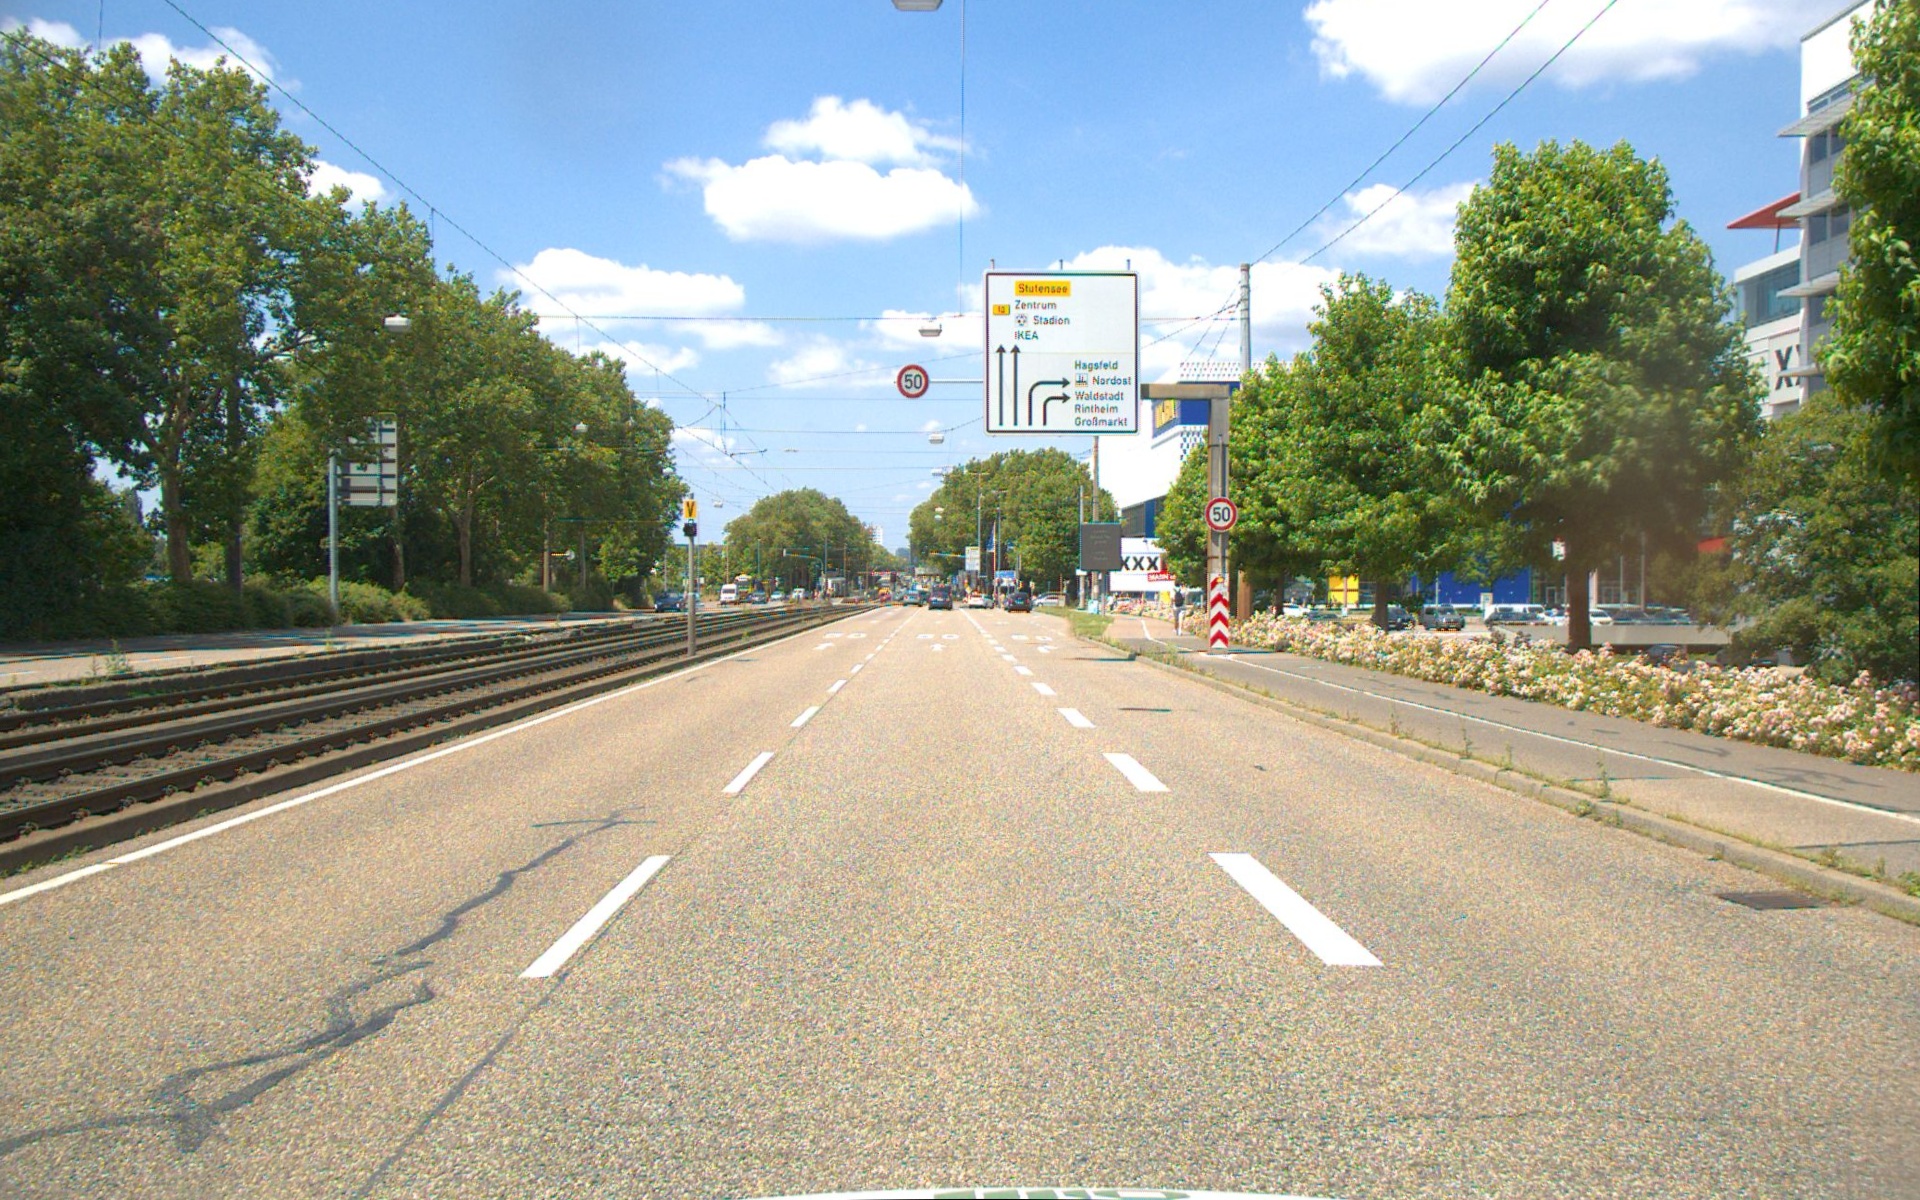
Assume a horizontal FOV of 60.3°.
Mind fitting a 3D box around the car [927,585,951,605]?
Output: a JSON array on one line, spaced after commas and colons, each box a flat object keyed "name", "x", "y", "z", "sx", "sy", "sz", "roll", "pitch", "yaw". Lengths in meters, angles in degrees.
[{"name": "car", "x": -1.739, "y": -0.427, "z": 133.888, "sx": 1.838, "sy": 1.566, "sz": 3.776, "roll": 1, "pitch": 0, "yaw": -2}]

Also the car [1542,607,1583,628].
[{"name": "car", "x": 45.712, "y": 1.317, "z": 125.570, "sx": 1.539, "sy": 1.508, "sz": 3.887, "roll": 1, "pitch": 0, "yaw": -3}]

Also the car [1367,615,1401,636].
[{"name": "car", "x": 34.353, "y": 2.051, "z": 134.079, "sx": 1.539, "sy": 1.508, "sz": 3.887, "roll": 1, "pitch": 0, "yaw": -3}]

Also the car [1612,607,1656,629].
[{"name": "car", "x": 50.171, "y": 1.321, "z": 123.256, "sx": 1.539, "sy": 1.508, "sz": 3.887, "roll": 1, "pitch": 0, "yaw": -3}]

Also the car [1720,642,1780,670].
[{"name": "car", "x": 47.760, "y": 3.368, "z": 100.023, "sx": 1.705, "sy": 1.508, "sz": 3.963, "roll": 1, "pitch": 0, "yaw": 0}]

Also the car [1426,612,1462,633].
[{"name": "car", "x": 38.605, "y": 1.790, "z": 131.988, "sx": 1.539, "sy": 1.508, "sz": 3.887, "roll": 1, "pitch": 0, "yaw": -3}]

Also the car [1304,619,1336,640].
[{"name": "car", "x": 28.744, "y": 2.359, "z": 132.026, "sx": 1.539, "sy": 1.508, "sz": 3.887, "roll": 1, "pitch": 0, "yaw": -3}]

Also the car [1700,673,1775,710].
[{"name": "car", "x": 38.059, "y": 4.475, "z": 81.032, "sx": 1.705, "sy": 1.508, "sz": 4.087, "roll": 1, "pitch": 0, "yaw": 0}]

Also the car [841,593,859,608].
[{"name": "car", "x": -12.166, "y": 0.052, "z": 183.482, "sx": 1.805, "sy": 1.577, "sz": 3.775, "roll": 2, "pitch": 0, "yaw": -2}]

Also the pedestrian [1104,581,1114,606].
[{"name": "pedestrian", "x": 10.875, "y": -0.481, "z": 120.642, "sx": 0.568, "sy": 1.823, "sz": 0.589, "roll": 1, "pitch": 0, "yaw": -3}]

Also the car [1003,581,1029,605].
[{"name": "car", "x": 4.456, "y": -0.587, "z": 131.324, "sx": 1.861, "sy": 1.837, "sz": 3.976, "roll": 1, "pitch": 0, "yaw": 0}]

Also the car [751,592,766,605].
[{"name": "car", "x": -26.112, "y": -0.211, "z": 214.408, "sx": 1.590, "sy": 1.577, "sz": 3.703, "roll": 1, "pitch": 0, "yaw": -1}]

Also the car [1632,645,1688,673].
[{"name": "car", "x": 42.789, "y": 3.575, "z": 101.196, "sx": 1.705, "sy": 1.508, "sz": 3.963, "roll": 1, "pitch": 0, "yaw": 0}]

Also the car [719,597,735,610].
[{"name": "car", "x": -29.569, "y": 0.423, "z": 209.950, "sx": 1.590, "sy": 1.577, "sz": 3.703, "roll": 1, "pitch": 0, "yaw": -1}]

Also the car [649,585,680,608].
[{"name": "car", "x": -21.038, "y": -0.249, "z": 117.912, "sx": 1.612, "sy": 1.577, "sz": 4.214, "roll": 1, "pitch": 0, "yaw": -3}]

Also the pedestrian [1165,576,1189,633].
[{"name": "pedestrian", "x": 7.089, "y": 0.146, "z": 54.082, "sx": 0.655, "sy": 1.823, "sz": 0.925, "roll": 1, "pitch": 0, "yaw": 1}]

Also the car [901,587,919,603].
[{"name": "car", "x": -5.063, "y": -0.542, "z": 166.918, "sx": 1.805, "sy": 1.577, "sz": 3.775, "roll": 2, "pitch": 0, "yaw": -2}]

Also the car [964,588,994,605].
[{"name": "car", "x": 1.877, "y": -0.324, "z": 165.207, "sx": 1.651, "sy": 1.577, "sz": 3.984, "roll": 2, "pitch": 0, "yaw": 21}]
